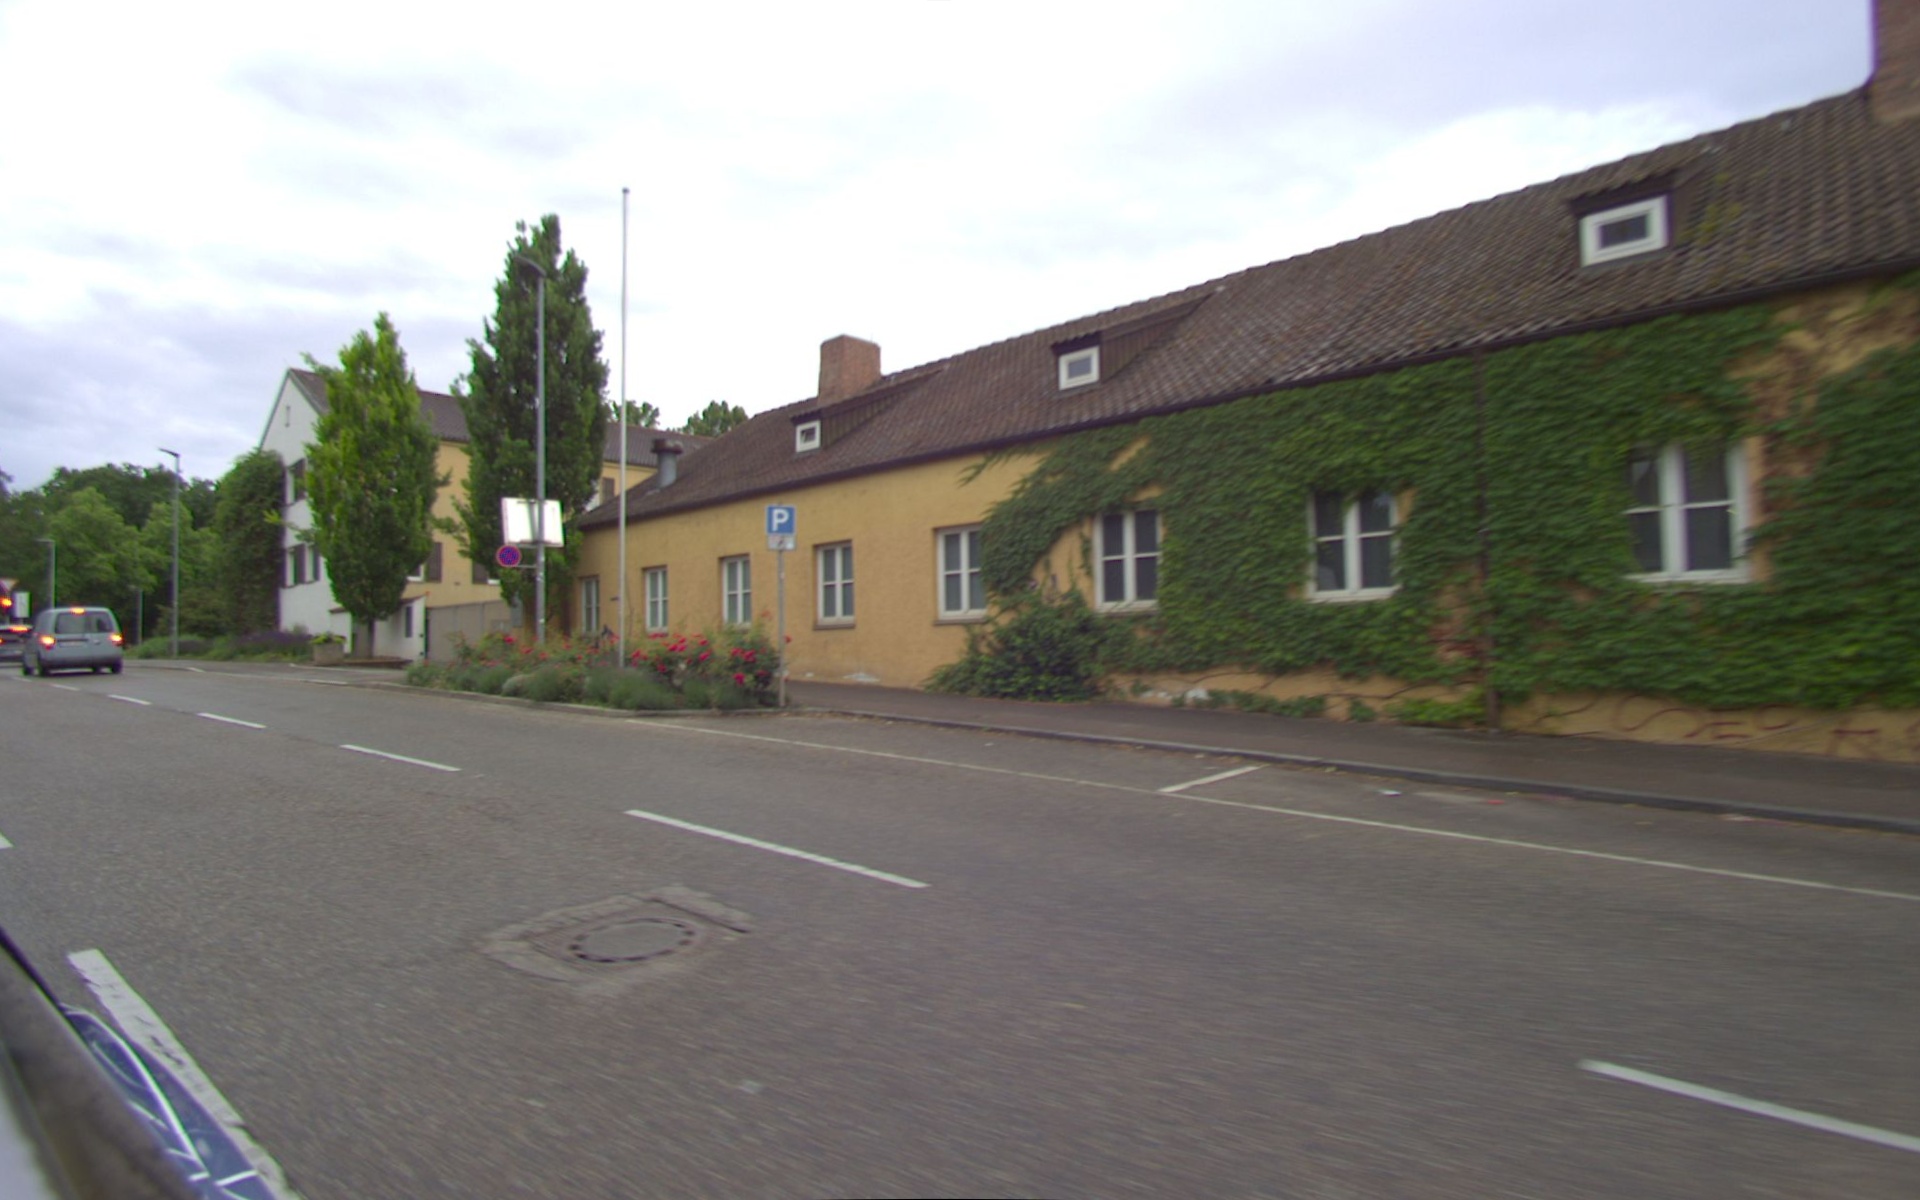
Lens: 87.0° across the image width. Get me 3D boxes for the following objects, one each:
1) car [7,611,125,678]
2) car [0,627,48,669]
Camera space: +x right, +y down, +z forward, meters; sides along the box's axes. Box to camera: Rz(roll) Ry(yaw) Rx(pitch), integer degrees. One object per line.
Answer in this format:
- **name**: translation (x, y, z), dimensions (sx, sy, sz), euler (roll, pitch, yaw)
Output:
- **car**: translation (-24.959, 1.185, 28.207), dimensions (4.507, 1.718, 1.875), euler (-1, -1, 41)
- **car**: translation (-35.779, 1.766, 37.904), dimensions (4.466, 1.469, 1.863), euler (-1, -1, 40)
